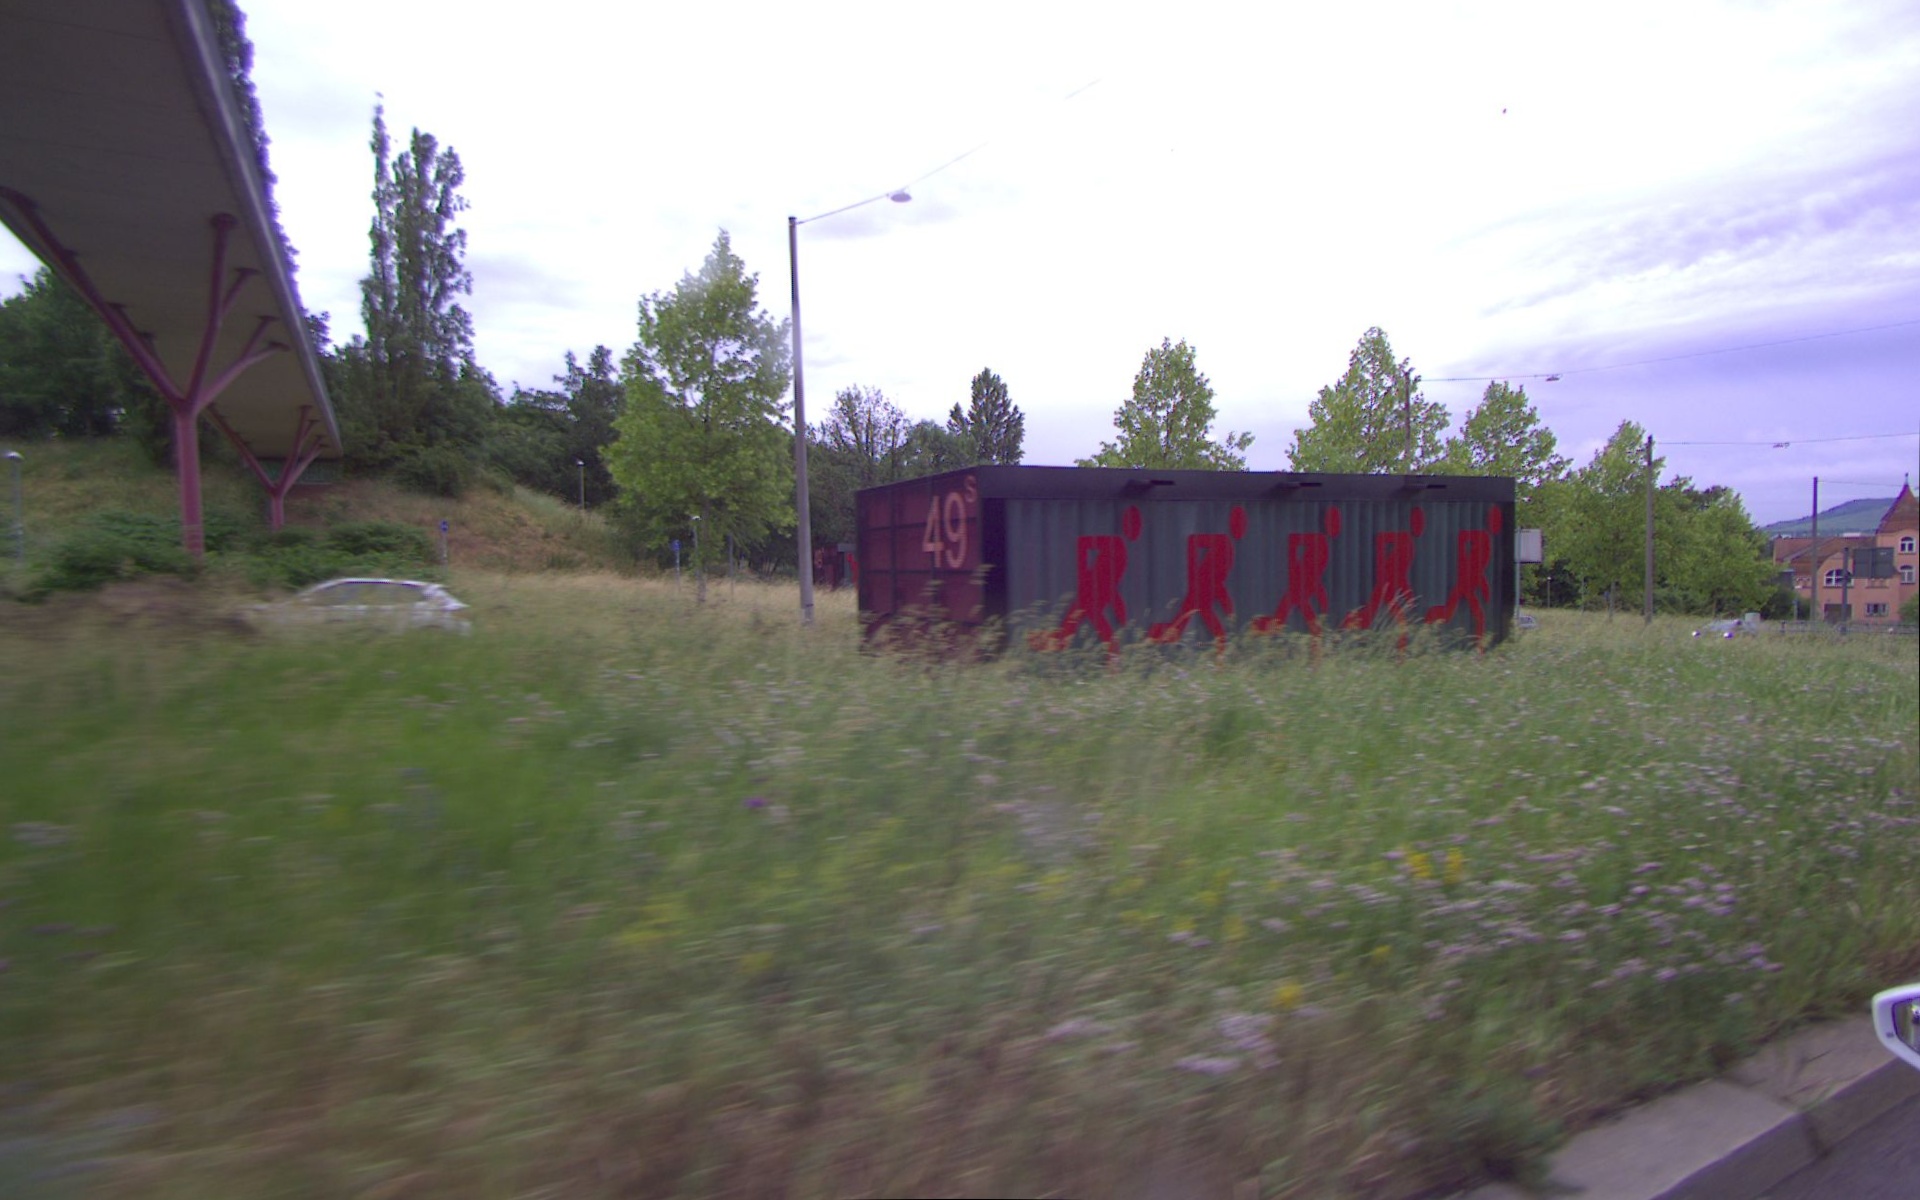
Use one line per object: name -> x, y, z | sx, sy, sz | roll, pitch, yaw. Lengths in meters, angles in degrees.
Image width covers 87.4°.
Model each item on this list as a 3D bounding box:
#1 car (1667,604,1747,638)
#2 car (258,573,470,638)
car -> 36.564, 1.039, 49.147 | 4.387, 1.548, 1.647 | 1, 1, -33
car -> -10.298, 0.105, 17.521 | 3.050, 0.957, 1.259 | 2, 3, -30
